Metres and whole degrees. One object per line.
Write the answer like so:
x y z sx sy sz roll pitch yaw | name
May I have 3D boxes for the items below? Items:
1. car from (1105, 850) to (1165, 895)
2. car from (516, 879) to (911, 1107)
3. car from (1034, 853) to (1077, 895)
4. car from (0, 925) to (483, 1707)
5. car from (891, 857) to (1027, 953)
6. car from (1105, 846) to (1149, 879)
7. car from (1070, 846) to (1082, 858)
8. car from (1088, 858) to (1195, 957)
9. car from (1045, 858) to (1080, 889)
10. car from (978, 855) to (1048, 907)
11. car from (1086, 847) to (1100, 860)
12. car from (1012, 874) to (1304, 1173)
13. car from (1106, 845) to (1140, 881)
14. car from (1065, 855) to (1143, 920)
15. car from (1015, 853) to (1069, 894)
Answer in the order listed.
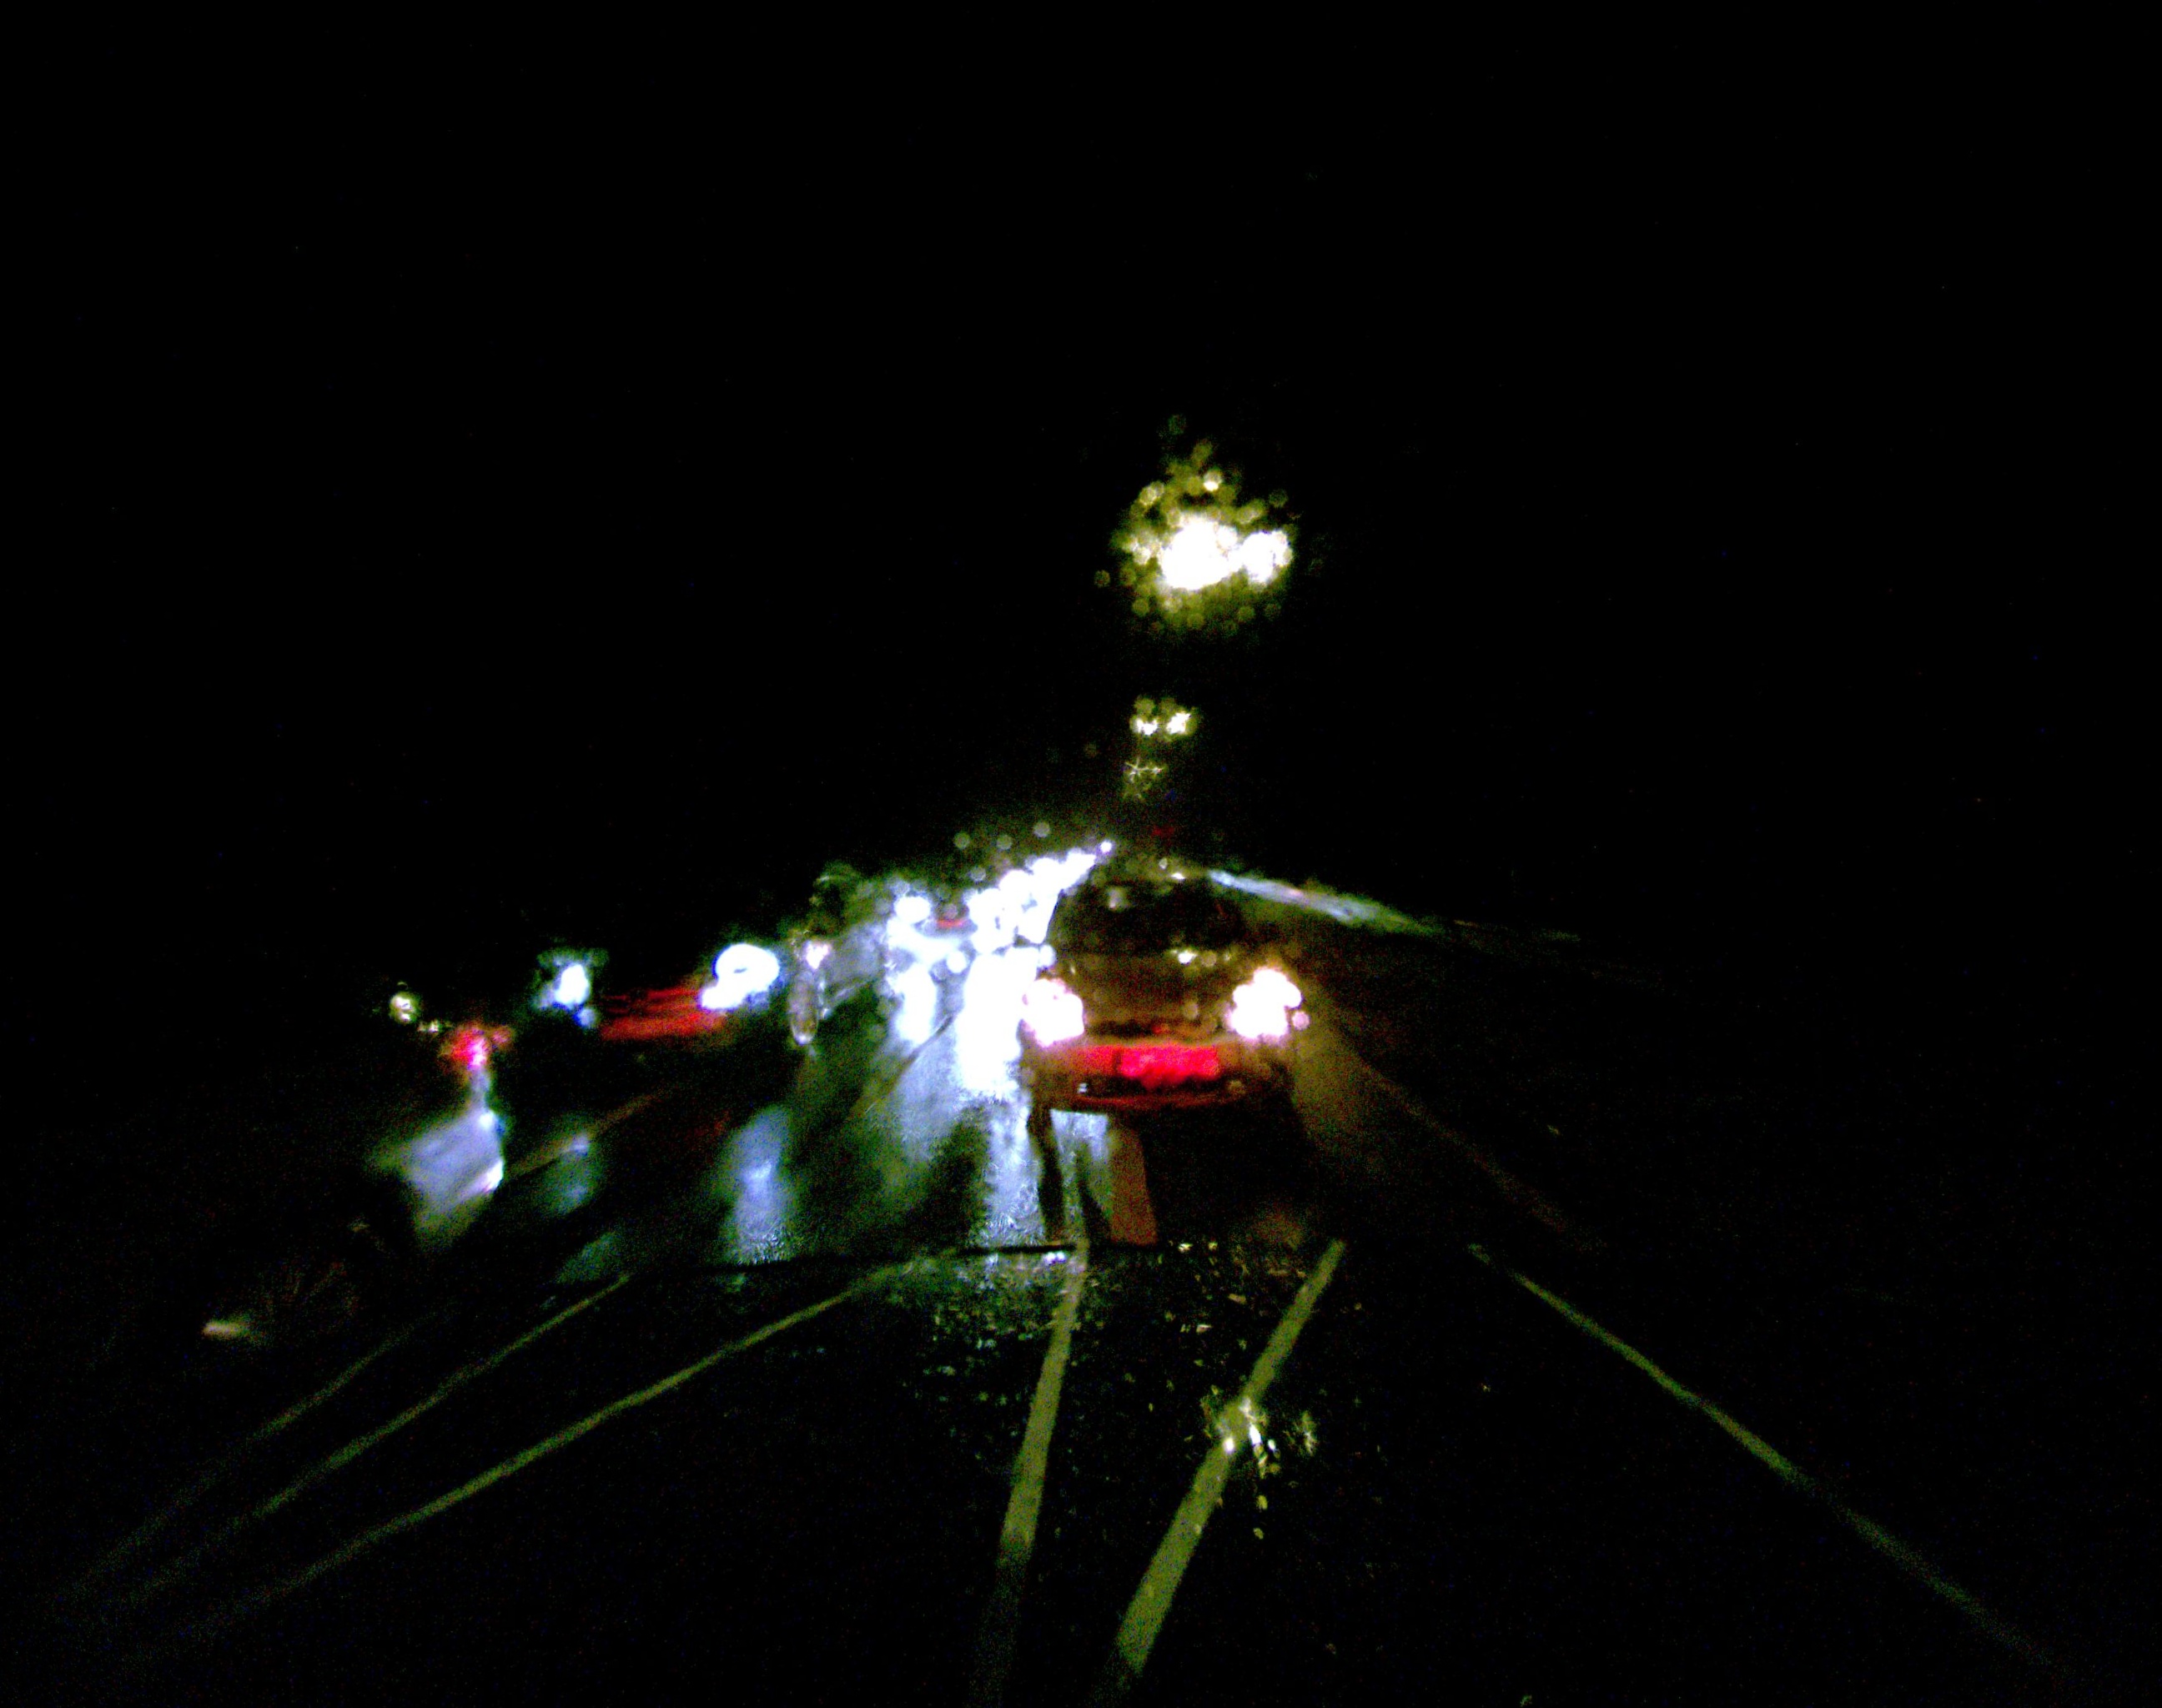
1.988 0.643 28.944 1.998 1.497 4.000 -2 1 1 | car
-3.109 1.074 7.533 1.743 1.409 4.140 -2 1 2 | car
-1.280 0.978 39.609 1.998 2.002 3.999 -2 1 1 | car
-3.080 1.064 0.516 1.711 1.513 4.414 -2 1 1 | car
-2.289 0.907 15.523 1.998 1.589 4.391 -1 1 1 | car
2.319 0.398 39.348 1.998 1.574 4.000 -2 1 1 | car
-0.844 -0.411 129.862 1.998 2.002 3.999 -1 1 0 | car
0.986 0.867 13.808 1.606 1.417 3.389 -4 1 1 | car
-1.111 1.179 47.534 1.998 1.789 4.000 -1 0 1 | car
-2.295 0.876 26.863 1.998 1.589 4.391 -1 1 1 | car
1.694 -0.062 105.145 1.869 1.654 4.000 -1 0 2 | car
0.438 0.961 5.784 1.497 1.416 3.389 -3 1 1 | car
2.433 0.486 44.715 1.801 2.002 3.999 -2 1 1 | car
0.587 0.836 20.608 1.838 1.417 3.698 -4 1 1 | car
-1.611 0.797 32.942 1.998 1.589 4.391 -1 1 1 | car
